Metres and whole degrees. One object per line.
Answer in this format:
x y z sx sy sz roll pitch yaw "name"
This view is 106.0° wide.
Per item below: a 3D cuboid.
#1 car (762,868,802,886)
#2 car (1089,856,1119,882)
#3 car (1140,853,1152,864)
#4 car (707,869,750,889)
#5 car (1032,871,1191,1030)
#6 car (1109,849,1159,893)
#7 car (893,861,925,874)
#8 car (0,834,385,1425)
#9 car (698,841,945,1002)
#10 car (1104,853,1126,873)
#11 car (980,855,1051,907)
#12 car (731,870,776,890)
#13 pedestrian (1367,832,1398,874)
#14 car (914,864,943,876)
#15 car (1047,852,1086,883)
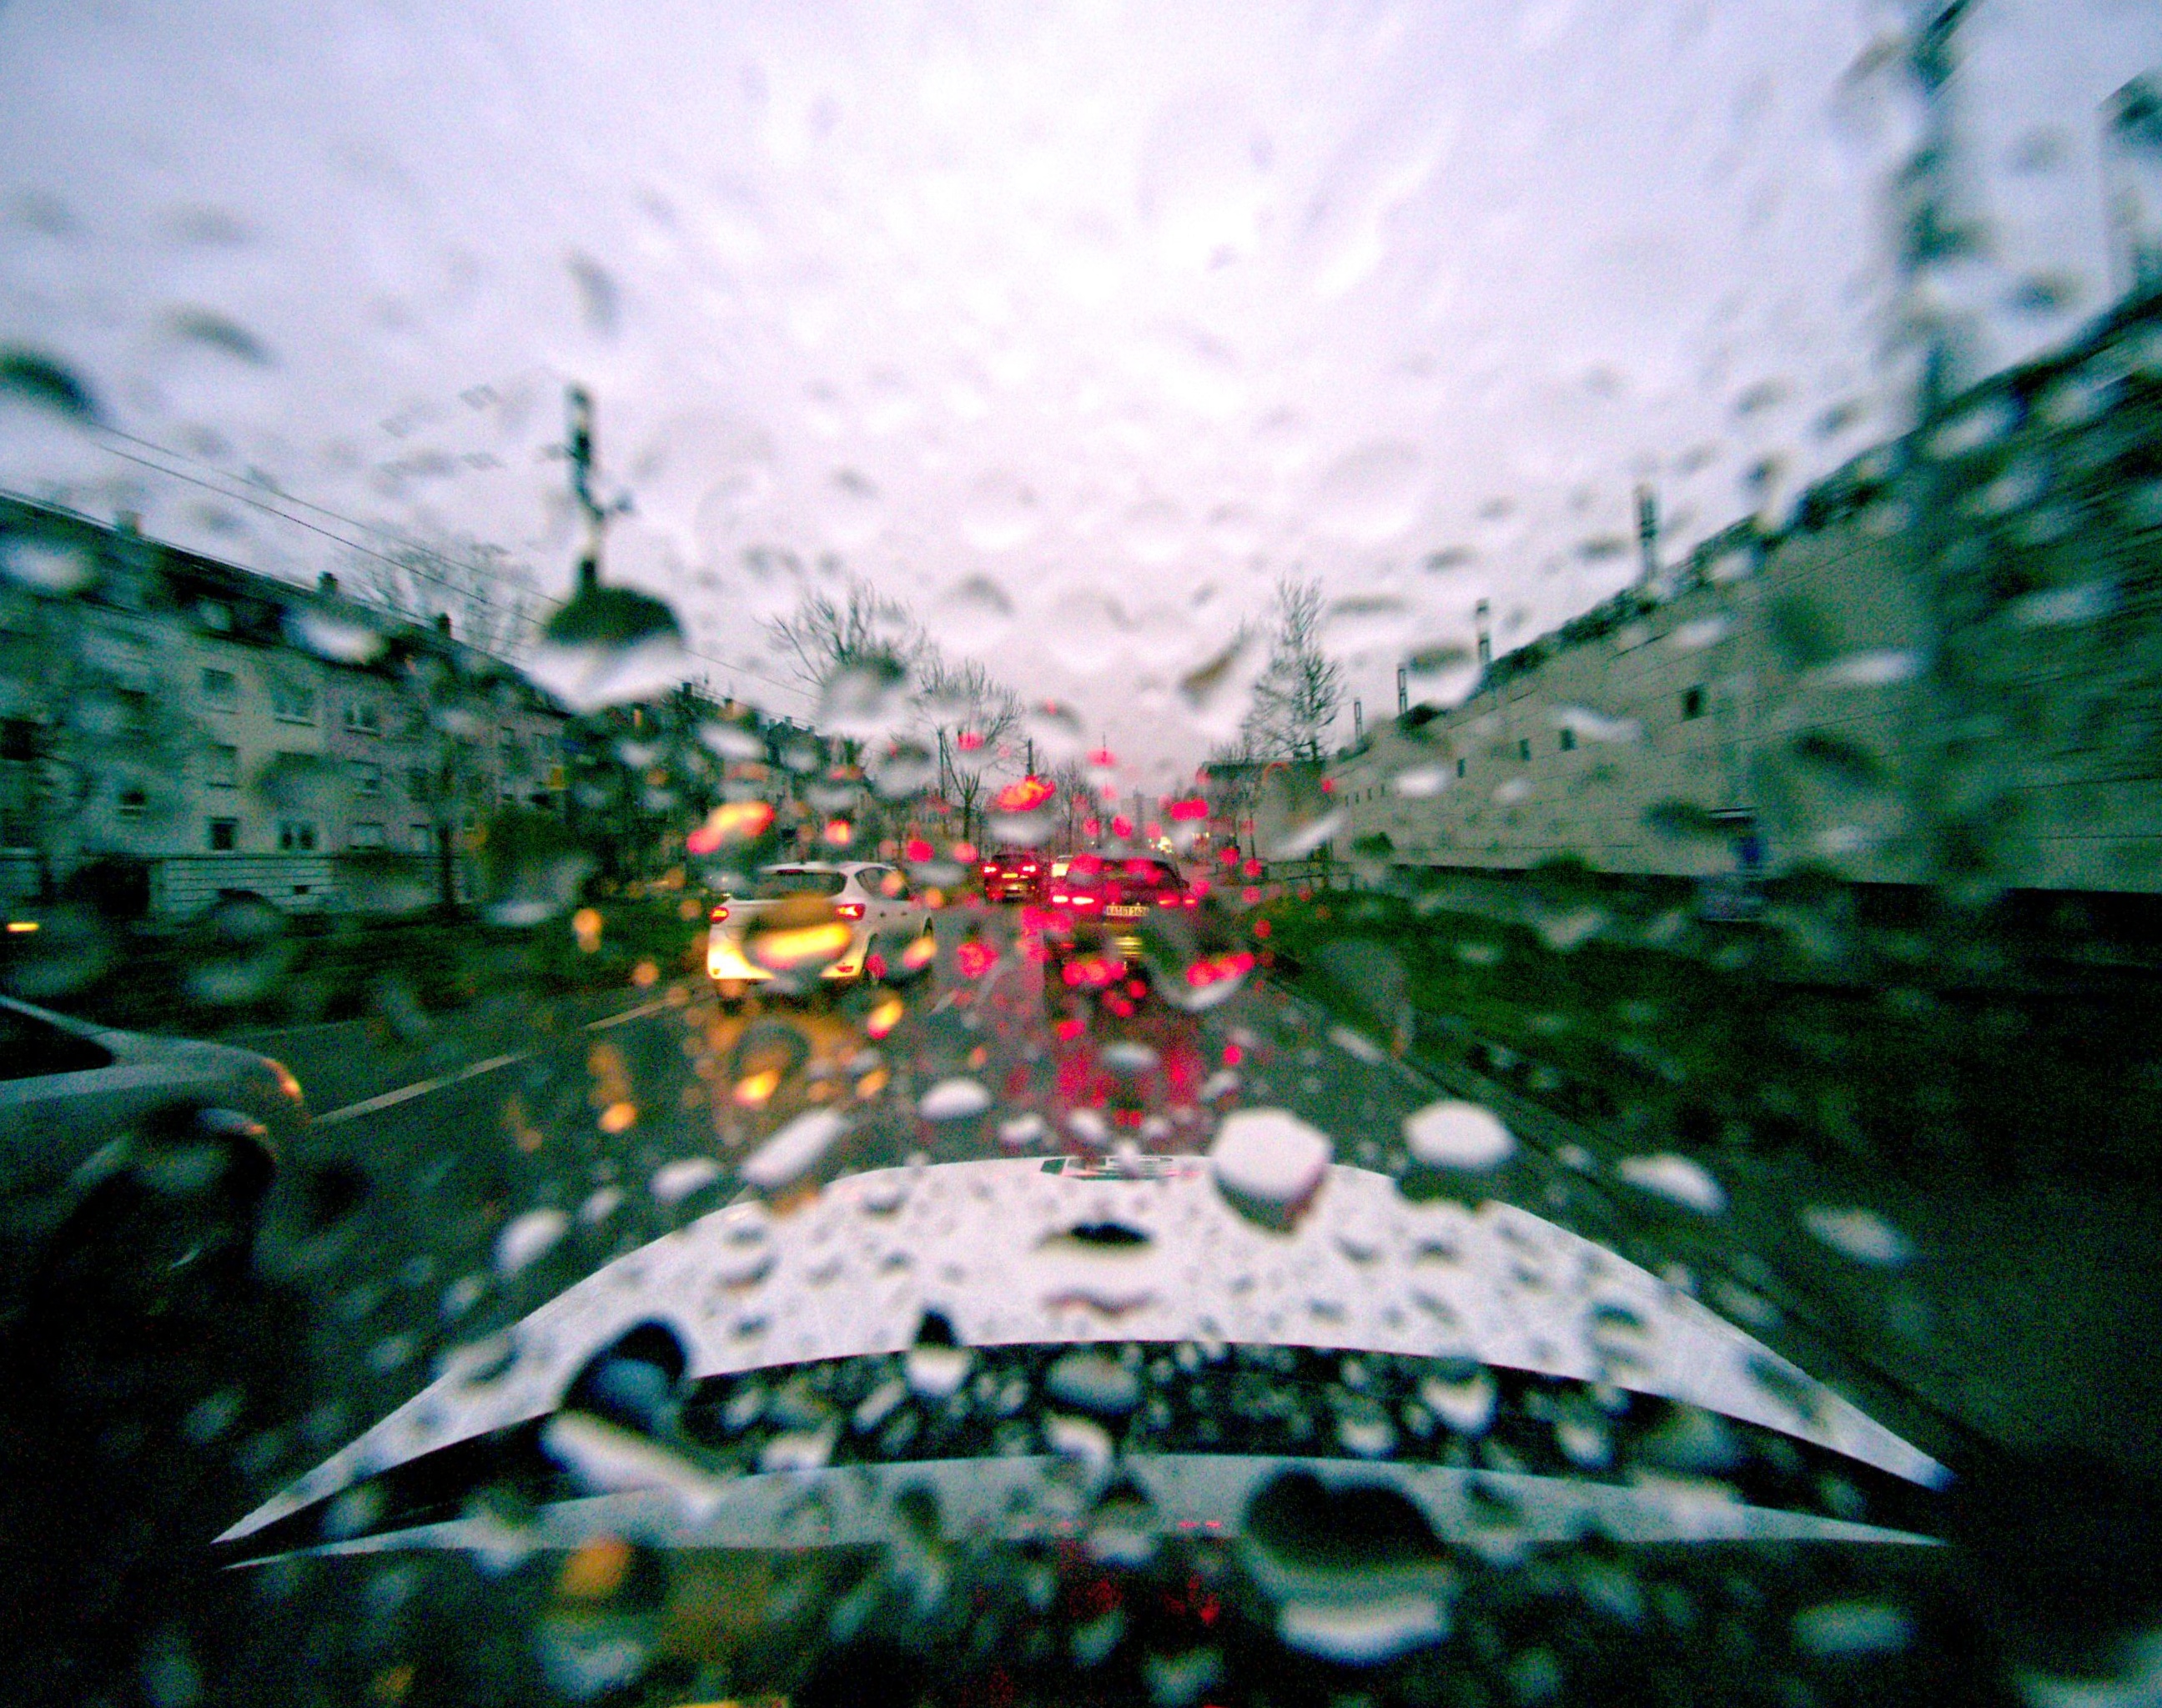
-25.191 1.945 68.774 1.768 1.354 3.561 -3 0 5 "car"
1.878 1.177 64.753 1.983 2.014 4.007 0 -1 7 "car"
11.307 0.778 141.917 1.984 1.729 4.005 -3 0 5 "car"
-29.350 2.079 67.932 1.768 1.500 3.561 -3 0 5 "car"
0.527 1.079 10.702 1.663 1.600 4.060 -1 0 6 "car"
2.410 0.724 36.201 1.983 1.744 4.007 -2 0 6 "car"
-20.379 1.639 96.568 3.510 1.354 1.793 -3 0 39 "car"
-3.843 0.761 1.390 1.803 1.600 4.052 -1 0 0 "car"
-2.991 0.701 10.323 1.665 1.600 4.055 -1 0 2 "car"
3.580 0.926 85.514 1.983 2.014 4.007 0 -1 7 "car"
-2.134 0.863 27.745 1.663 1.600 4.060 -1 0 6 "car"
-25.656 1.995 63.904 1.768 1.354 3.561 -3 0 5 "car"
12.071 -0.042 32.635 0.934 1.618 0.695 -3 0 2 "pedestrian"
-19.919 2.074 106.402 3.510 1.354 1.793 -3 0 39 "car"
-0.765 0.731 45.599 1.663 1.600 4.060 -1 0 6 "car"
